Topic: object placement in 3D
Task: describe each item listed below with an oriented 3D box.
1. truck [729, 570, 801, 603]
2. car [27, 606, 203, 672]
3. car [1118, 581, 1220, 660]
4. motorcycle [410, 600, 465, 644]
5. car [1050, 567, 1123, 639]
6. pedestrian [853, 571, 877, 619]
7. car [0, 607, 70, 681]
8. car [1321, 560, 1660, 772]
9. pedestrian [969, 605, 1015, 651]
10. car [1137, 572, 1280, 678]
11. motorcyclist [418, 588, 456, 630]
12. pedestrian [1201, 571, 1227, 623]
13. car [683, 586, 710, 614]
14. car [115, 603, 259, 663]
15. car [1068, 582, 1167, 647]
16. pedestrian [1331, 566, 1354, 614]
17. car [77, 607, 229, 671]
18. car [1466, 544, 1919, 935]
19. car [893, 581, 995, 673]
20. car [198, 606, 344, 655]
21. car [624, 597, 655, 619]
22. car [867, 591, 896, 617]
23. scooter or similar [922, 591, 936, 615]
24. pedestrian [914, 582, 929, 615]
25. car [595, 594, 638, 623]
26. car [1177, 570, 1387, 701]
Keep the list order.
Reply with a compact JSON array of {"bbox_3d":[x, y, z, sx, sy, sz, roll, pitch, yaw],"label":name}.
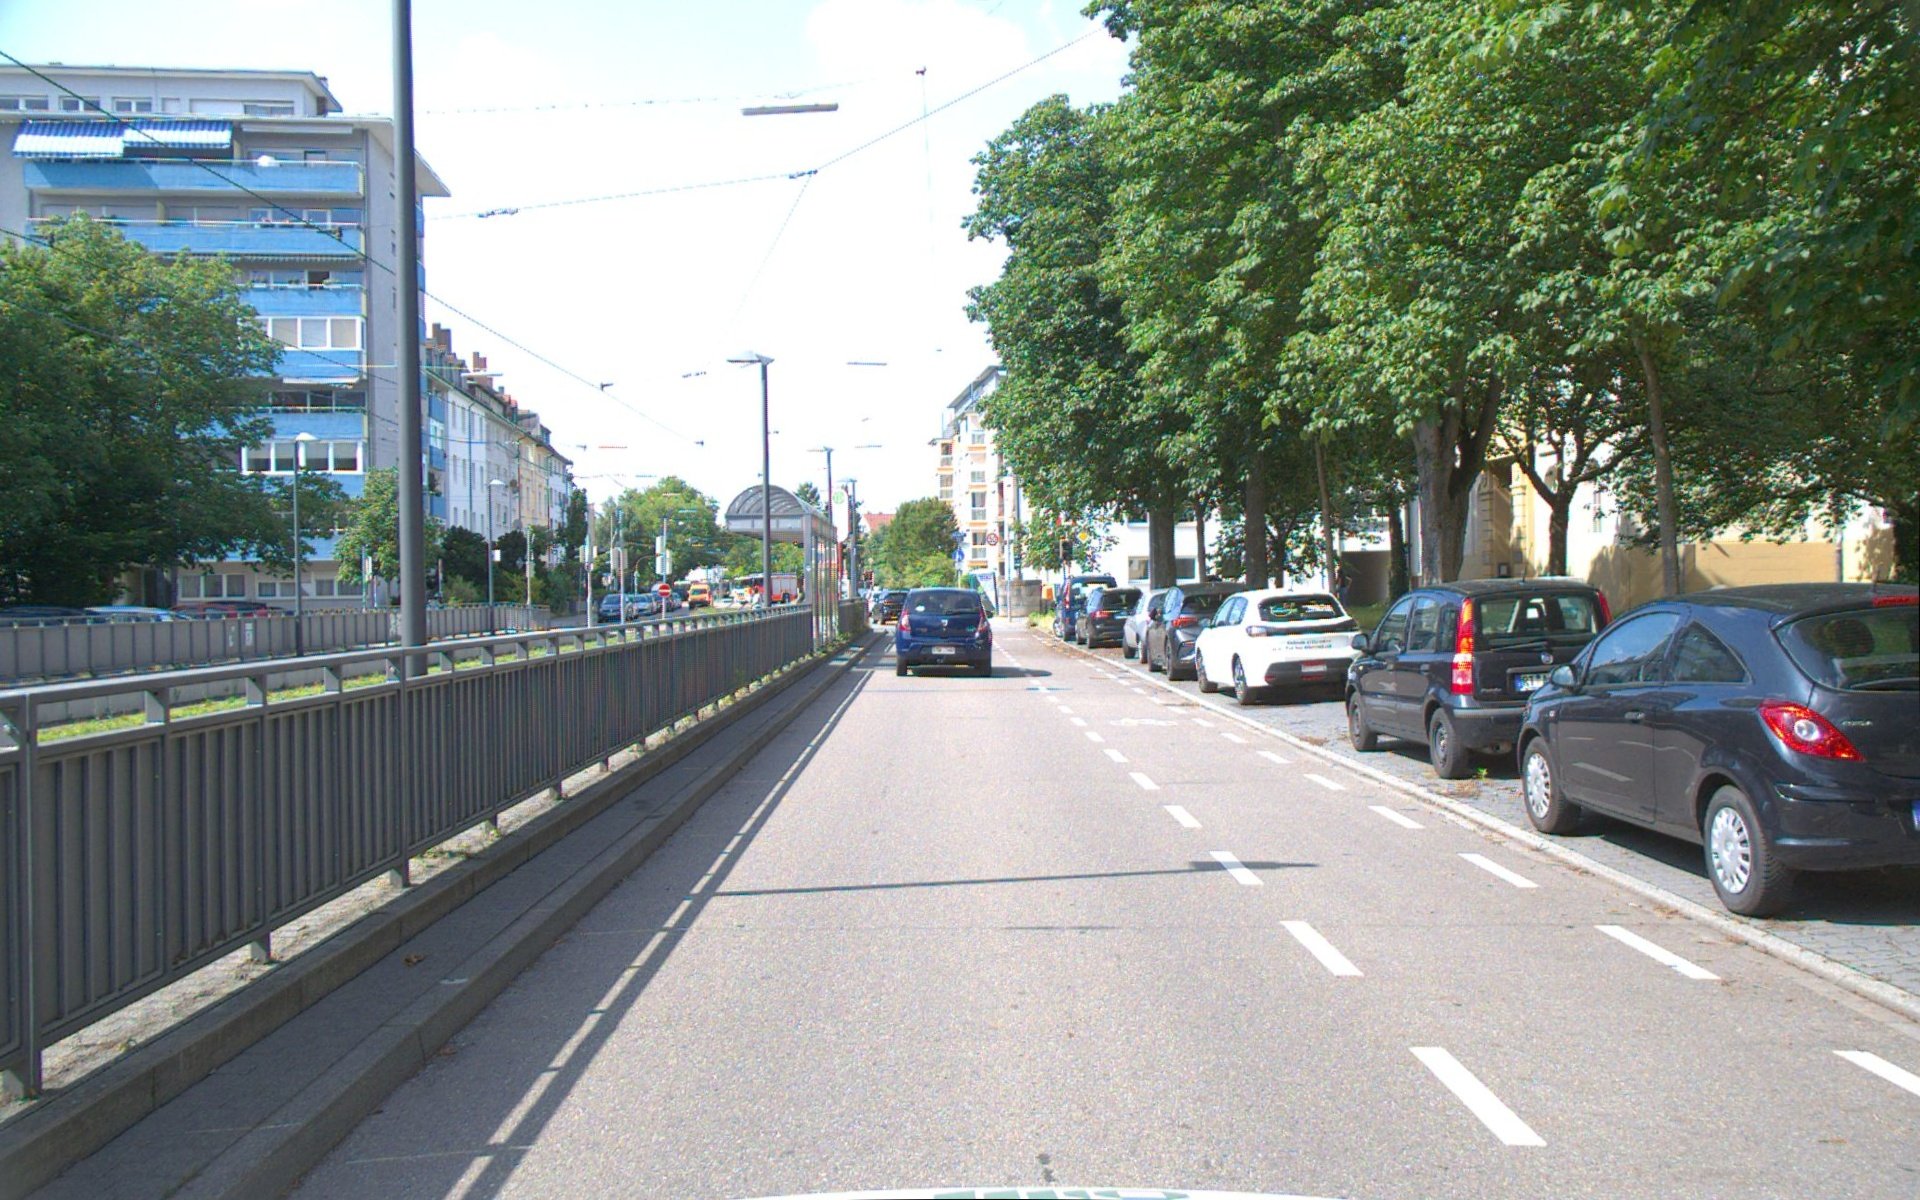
[{"bbox_3d":[-20.644,-1.463,175.804,2.552,3.241,8.352,-3,0,36],"label":"truck"},{"bbox_3d":[-22.000,0.987,43.090,3.975,1.540,1.592,-2,0,-31],"label":"car"},{"bbox_3d":[4.256,0.396,34.127,1.558,1.470,3.597,-3,0,-1],"label":"car"},{"bbox_3d":[-17.235,0.702,54.582,0.994,1.362,2.517,-2,0,-1],"label":"motorcycle"},{"bbox_3d":[3.661,0.045,48.474,1.785,1.929,4.184,-2,1,0],"label":"car"},{"bbox_3d":[-3.415,-0.193,59.422,0.828,1.697,0.798,-1,0,-4],"label":"pedestrian"},{"bbox_3d":[-22.104,1.006,37.158,3.620,1.606,1.631,-2,1,-32],"label":"car"},{"bbox_3d":[4.434,0.512,14.380,1.525,1.486,3.556,-5,0,-4],"label":"car"},{"bbox_3d":[1.421,1.246,75.270,1.953,2.049,3.999,0,0,-1],"label":"pedestrian"},{"bbox_3d":[4.220,0.372,28.714,1.690,1.611,4.677,-2,1,0],"label":"car"},{"bbox_3d":[-17.284,0.288,54.672,0.919,1.362,0.986,-2,0,0],"label":"motorcyclist"},{"bbox_3d":[8.660,-0.111,56.335,0.729,1.725,0.767,-2,0,0],"label":"pedestrian"},{"bbox_3d":[-23.694,-0.007,148.744,1.960,2.315,4.817,3,0,-14],"label":"car"},{"bbox_3d":[-22.495,0.934,48.163,3.620,1.606,1.631,-2,1,-32],"label":"car"},{"bbox_3d":[4.043,0.326,43.125,1.879,1.467,4.795,-4,1,-2],"label":"car"},{"bbox_3d":[13.076,-0.345,56.557,0.619,1.624,0.539,-1,0,-4],"label":"pedestrian"},{"bbox_3d":[-22.283,1.037,45.686,3.620,1.606,1.631,-2,1,-32],"label":"car"},{"bbox_3d":[4.376,0.551,9.182,1.657,1.588,4.306,-4,0,-1],"label":"car"},{"bbox_3d":[-0.329,0.467,29.917,1.708,1.533,3.999,0,0,-2],"label":"car"},{"bbox_3d":[-22.390,0.961,53.821,4.095,1.418,1.586,-2,0,-40],"label":"car"},{"bbox_3d":[-21.973,0.525,113.473,1.734,1.467,3.994,1,0,-7],"label":"car"},{"bbox_3d":[-4.686,0.221,98.235,1.591,1.490,3.506,1,0,-5],"label":"car"},{"bbox_3d":[-1.799,0.187,94.833,0.649,1.326,0.867,-4,1,-6],"label":"scooter or similar"},{"bbox_3d":[-2.229,-0.096,95.671,0.687,1.820,1.029,-4,0,-5],"label":"pedestrian"},{"bbox_3d":[-20.227,0.478,97.576,1.954,1.674,3.996,1,0,-5],"label":"car"},{"bbox_3d":[4.370,0.433,23.118,1.799,1.550,4.250,-3,0,-3],"label":"car"}]
